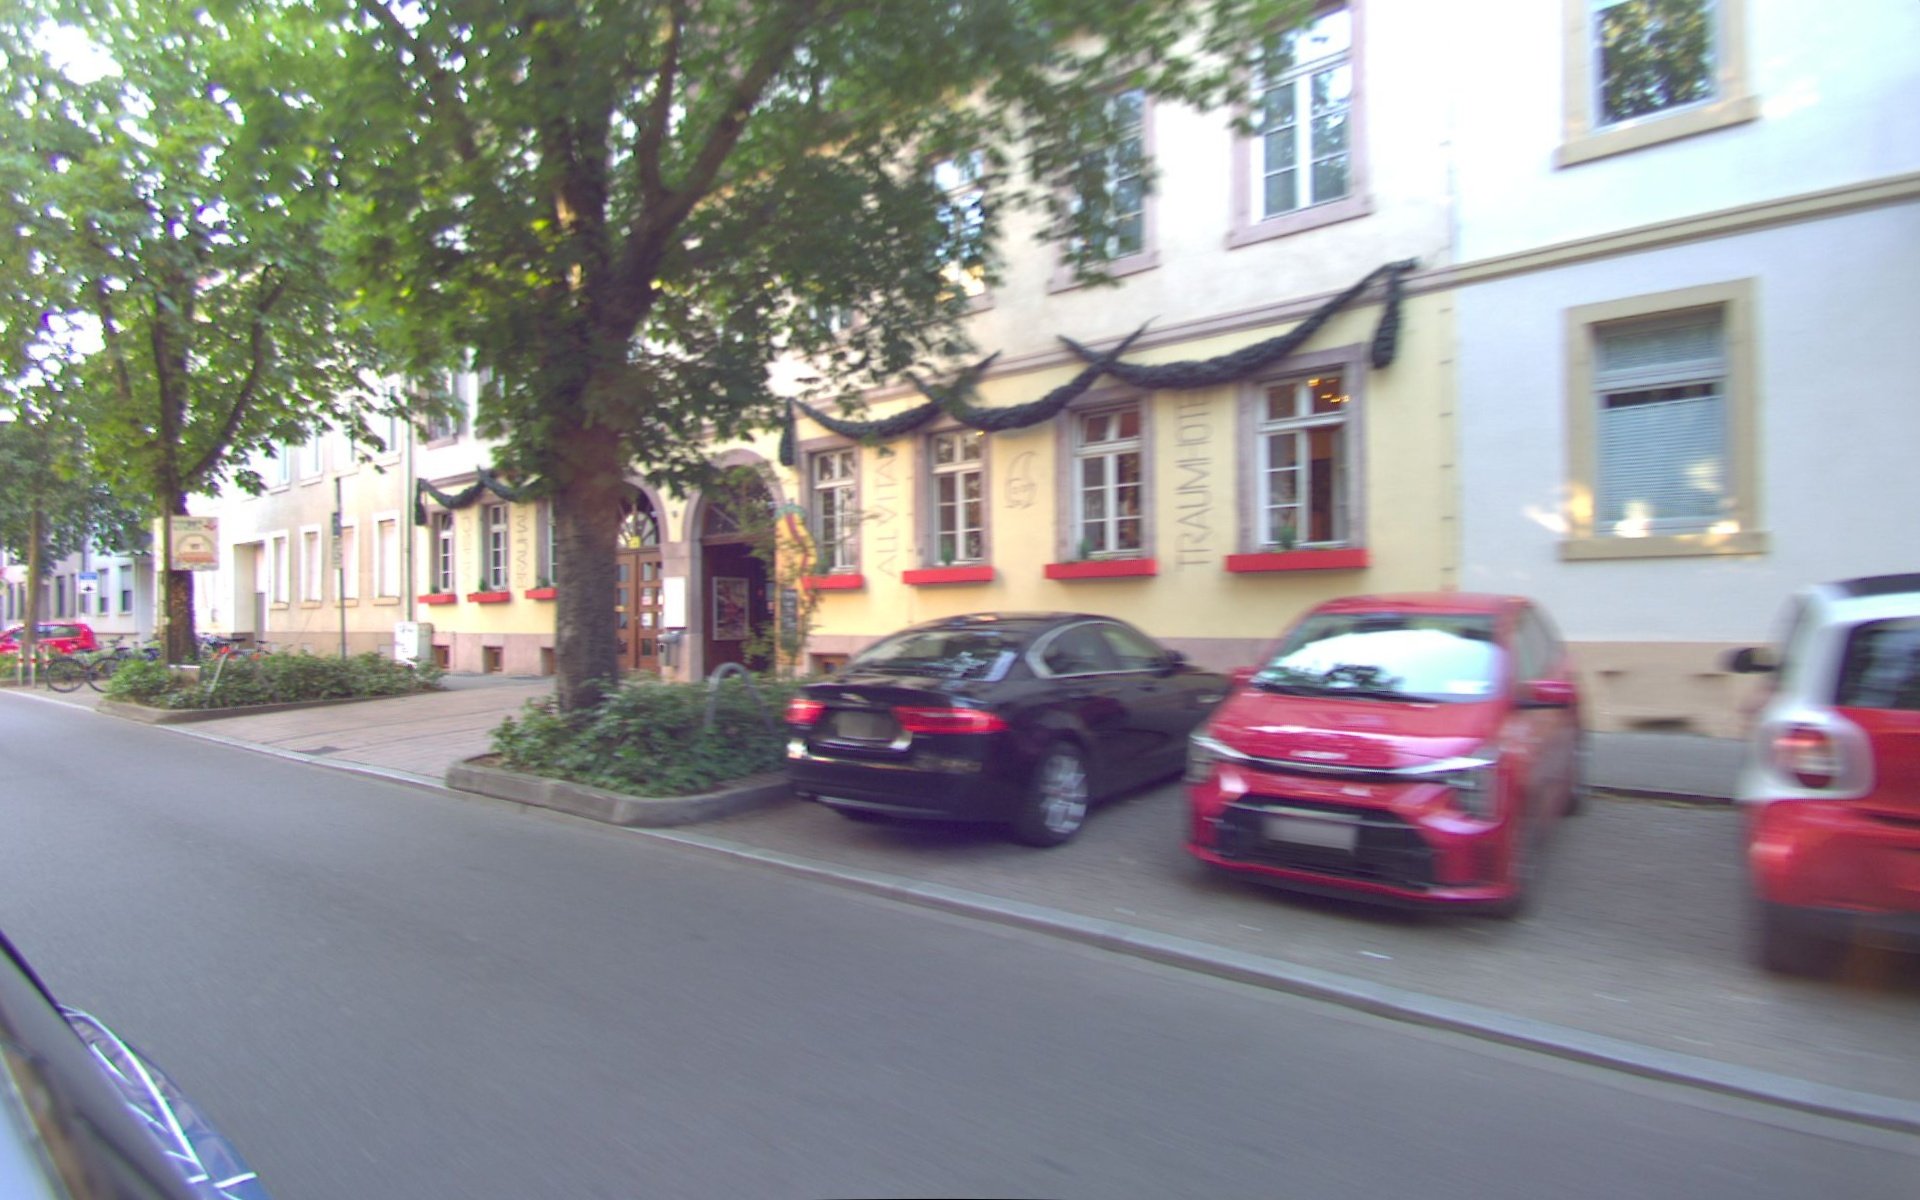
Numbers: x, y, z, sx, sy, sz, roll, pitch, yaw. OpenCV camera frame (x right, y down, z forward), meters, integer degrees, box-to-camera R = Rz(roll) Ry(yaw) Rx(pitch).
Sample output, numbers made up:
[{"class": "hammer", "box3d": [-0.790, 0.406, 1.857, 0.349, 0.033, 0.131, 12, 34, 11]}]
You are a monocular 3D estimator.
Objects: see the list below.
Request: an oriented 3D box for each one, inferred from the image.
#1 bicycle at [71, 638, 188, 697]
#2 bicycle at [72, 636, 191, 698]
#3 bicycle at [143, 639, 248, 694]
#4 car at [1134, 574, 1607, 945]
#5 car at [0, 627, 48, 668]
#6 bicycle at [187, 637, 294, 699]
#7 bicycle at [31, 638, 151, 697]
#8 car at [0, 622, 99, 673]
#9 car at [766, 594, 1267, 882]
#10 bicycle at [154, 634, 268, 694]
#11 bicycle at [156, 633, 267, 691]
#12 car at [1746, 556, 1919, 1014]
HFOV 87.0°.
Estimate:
[{"class": "bicycle", "box3d": [-17.582, 1.401, 21.464, 0.479, 1.107, 1.849, -1, 0, 32]}, {"class": "bicycle", "box3d": [-17.216, 1.369, 21.080, 0.478, 1.153, 1.849, -1, 0, 32]}, {"class": "bicycle", "box3d": [-17.403, 1.498, 23.075, 0.479, 1.107, 1.849, -1, 0, 32]}, {"class": "car", "box3d": [2.679, 0.632, 6.073, 1.657, 1.460, 3.649, -2, 1, 38]}, {"class": "car", "box3d": [-36.146, 1.824, 37.280, 1.587, 1.430, 3.512, -2, 1, 36]}, {"class": "bicycle", "box3d": [-14.411, 1.336, 20.315, 0.479, 1.107, 1.693, -1, 0, 32]}, {"class": "bicycle", "box3d": [-18.407, 1.407, 21.481, 0.478, 1.106, 1.849, -1, 0, 32]}, {"class": "car", "box3d": [-29.419, 1.501, 31.657, 1.670, 1.416, 3.458, -2, 1, 36]}, {"class": "car", "box3d": [0.752, 0.713, 7.579, 1.714, 1.417, 4.387, 0, 1, 35]}, {"class": "bicycle", "box3d": [-15.599, 1.313, 21.127, 0.479, 1.107, 1.849, -1, 0, 32]}, {"class": "bicycle", "box3d": [-16.030, 1.303, 21.728, 0.507, 1.107, 1.849, -1, 0, 32]}, {"class": "car", "box3d": [4.936, 0.570, 4.895, 1.769, 1.550, 4.313, 0, 2, 38]}]
